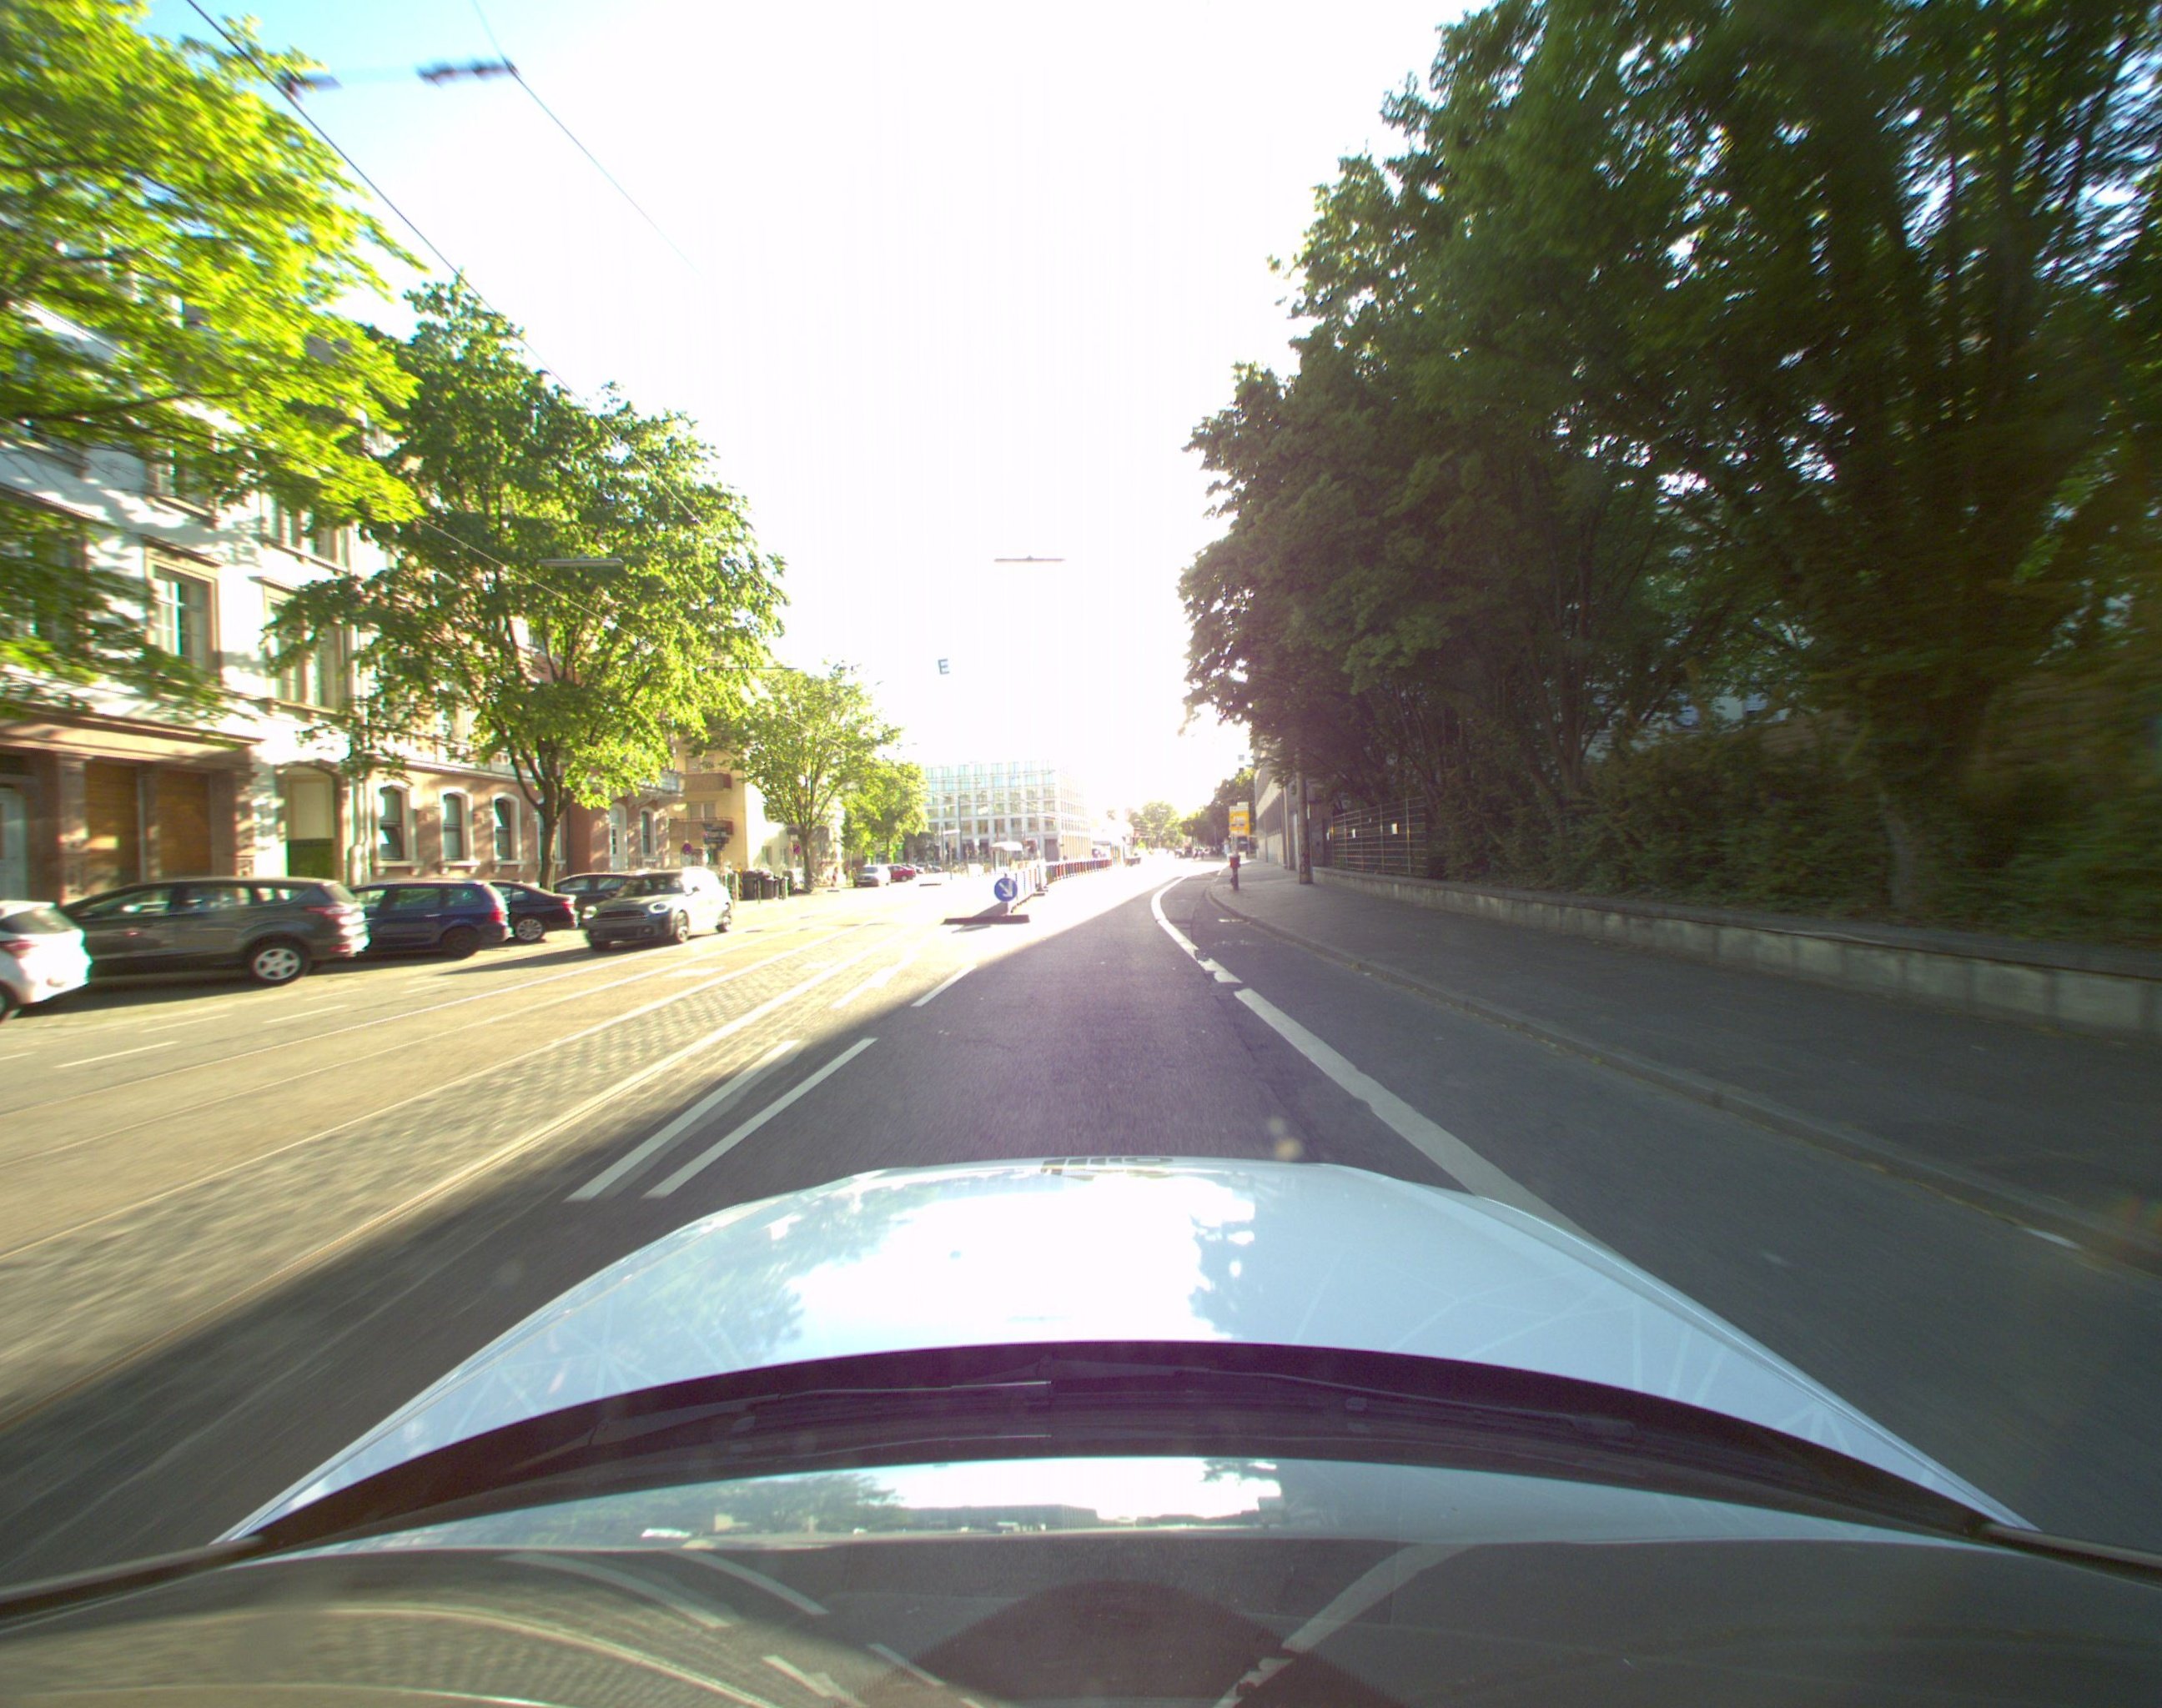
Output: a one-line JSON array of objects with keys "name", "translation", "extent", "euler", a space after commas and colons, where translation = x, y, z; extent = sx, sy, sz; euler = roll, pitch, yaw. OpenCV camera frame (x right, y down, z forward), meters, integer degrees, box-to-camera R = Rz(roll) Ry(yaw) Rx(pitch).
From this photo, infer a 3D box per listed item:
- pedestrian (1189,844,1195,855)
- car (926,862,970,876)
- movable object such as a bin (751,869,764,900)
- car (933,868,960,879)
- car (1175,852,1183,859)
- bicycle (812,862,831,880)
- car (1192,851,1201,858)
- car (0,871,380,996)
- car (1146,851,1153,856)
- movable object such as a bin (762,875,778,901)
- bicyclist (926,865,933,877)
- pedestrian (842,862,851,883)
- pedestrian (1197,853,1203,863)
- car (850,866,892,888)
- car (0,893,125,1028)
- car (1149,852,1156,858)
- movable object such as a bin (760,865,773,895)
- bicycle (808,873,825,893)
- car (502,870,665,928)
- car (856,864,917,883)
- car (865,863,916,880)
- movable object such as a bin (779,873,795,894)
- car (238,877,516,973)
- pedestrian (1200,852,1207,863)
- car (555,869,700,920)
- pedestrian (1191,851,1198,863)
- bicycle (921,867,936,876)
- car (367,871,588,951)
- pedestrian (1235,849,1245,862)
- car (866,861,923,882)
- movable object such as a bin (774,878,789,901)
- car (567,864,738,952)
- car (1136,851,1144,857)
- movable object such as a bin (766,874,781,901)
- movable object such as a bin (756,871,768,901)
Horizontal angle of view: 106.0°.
[{"name": "pedestrian", "translation": [18.545, -0.682, 136.062], "extent": [0.846, 1.784, 0.778], "euler": [-3, -1, -6]}, {"name": "car", "translation": [-14.794, 1.669, 90.480], "extent": [4.519, 1.350, 1.578], "euler": [-1, -1, -22]}, {"name": "movable object such as a bin", "translation": [-15.387, 1.436, 38.695], "extent": [0.377, 1.427, 0.389], "euler": [-3, -1, 9]}, {"name": "car", "translation": [-19.731, 2.869, 119.492], "extent": [3.510, 1.506, 1.526], "euler": [-2, 0, 8]}, {"name": "car", "translation": [22.586, 0.356, 187.279], "extent": [1.674, 1.737, 3.519], "euler": [-1, -1, 11]}, {"name": "bicycle", "translation": [-21.014, 1.382, 65.913], "extent": [0.715, 1.398, 3.006], "euler": [-2, 0, -4]}, {"name": "car", "translation": [25.467, 0.141, 179.810], "extent": [1.674, 1.501, 3.519], "euler": [-1, -1, 11]}, {"name": "car", "translation": [-14.061, 1.144, 12.868], "extent": [4.303, 1.723, 1.689], "euler": [1, -2, -34]}, {"name": "car", "translation": [20.800, -0.157, 247.148], "extent": [1.808, 1.712, 3.817], "euler": [-3, 0, 11]}, {"name": "movable object such as a bin", "translation": [-14.669, 1.590, 38.388], "extent": [0.377, 1.203, 0.641], "euler": [-3, -1, 10]}, {"name": "bicyclist", "translation": [-21.069, 2.329, 113.336], "extent": [0.614, 1.582, 0.596], "euler": [-3, -1, 15]}, {"name": "pedestrian", "translation": [-19.037, 1.514, 66.104], "extent": [0.509, 1.671, 0.490], "euler": [-3, -1, 3]}, {"name": "pedestrian", "translation": [19.886, 0.680, 136.030], "extent": [0.761, 1.558, 0.586], "euler": [-3, -1, -6]}, {"name": "car", "translation": [-14.568, 1.546, 56.750], "extent": [1.699, 1.410, 4.294], "euler": [-1, 0, 2]}, {"name": "car", "translation": [-14.175, 1.266, 9.661], "extent": [3.293, 1.533, 1.689], "euler": [1, -1, -34]}, {"name": "car", "translation": [22.076, 0.278, 250.921], "extent": [1.599, 1.498, 3.817], "euler": [-3, 0, 11]}, {"name": "movable object such as a bin", "translation": [-15.269, 1.246, 39.515], "extent": [0.377, 1.427, 0.389], "euler": [-3, -1, 9]}, {"name": "bicycle", "translation": [-15.243, 1.657, 46.933], "extent": [0.262, 1.116, 1.409], "euler": [-3, 0, 10]}, {"name": "car", "translation": [-14.484, 1.253, 23.838], "extent": [3.937, 1.508, 1.672], "euler": [1, 0, -34]}, {"name": "car", "translation": [-15.884, 1.616, 66.467], "extent": [4.524, 1.426, 1.857], "euler": [-1, -1, -27]}, {"name": "car", "translation": [-18.138, 1.656, 77.469], "extent": [4.519, 1.570, 1.578], "euler": [-1, -1, -22]}, {"name": "movable object such as a bin", "translation": [-16.689, 1.666, 46.217], "extent": [0.423, 1.126, 1.148], "euler": [-2, -1, 4]}, {"name": "car", "translation": [-13.734, 1.303, 16.209], "extent": [4.005, 1.617, 1.616], "euler": [0, -1, -38]}, {"name": "pedestrian", "translation": [20.299, 0.530, 134.784], "extent": [0.846, 1.784, 0.778], "euler": [-3, -1, -6]}, {"name": "car", "translation": [-14.953, 1.279, 26.952], "extent": [3.936, 1.522, 1.715], "euler": [1, -1, -40]}, {"name": "pedestrian", "translation": [18.598, 0.500, 133.482], "extent": [0.964, 1.784, 0.778], "euler": [-3, -1, -6]}, {"name": "bicycle", "translation": [-21.237, 2.461, 113.405], "extent": [1.908, 1.122, 0.793], "euler": [-3, 0, 16]}, {"name": "car", "translation": [-13.998, 1.245, 19.088], "extent": [4.005, 1.617, 1.616], "euler": [0, -1, -38]}, {"name": "pedestrian", "translation": [20.518, 0.181, 105.350], "extent": [1.036, 1.721, 1.035], "euler": [-3, 0, -1]}, {"name": "car", "translation": [-15.838, 1.484, 69.261], "extent": [4.534, 1.642, 1.573], "euler": [0, -2, -35]}, {"name": "movable object such as a bin", "translation": [-14.642, 1.723, 39.805], "extent": [0.377, 1.068, 0.641], "euler": [-3, -1, 10]}, {"name": "car", "translation": [-9.368, 1.090, 18.260], "extent": [1.869, 1.601, 4.416], "euler": [-3, 0, -7]}, {"name": "car", "translation": [16.992, -0.073, 235.921], "extent": [1.808, 1.712, 3.817], "euler": [-3, 0, 11]}, {"name": "movable object such as a bin", "translation": [-14.753, 1.597, 39.098], "extent": [0.377, 1.242, 0.641], "euler": [-3, -1, 10]}, {"name": "movable object such as a bin", "translation": [-15.315, 1.519, 39.107], "extent": [0.377, 1.427, 0.387], "euler": [-3, -1, 9]}]
